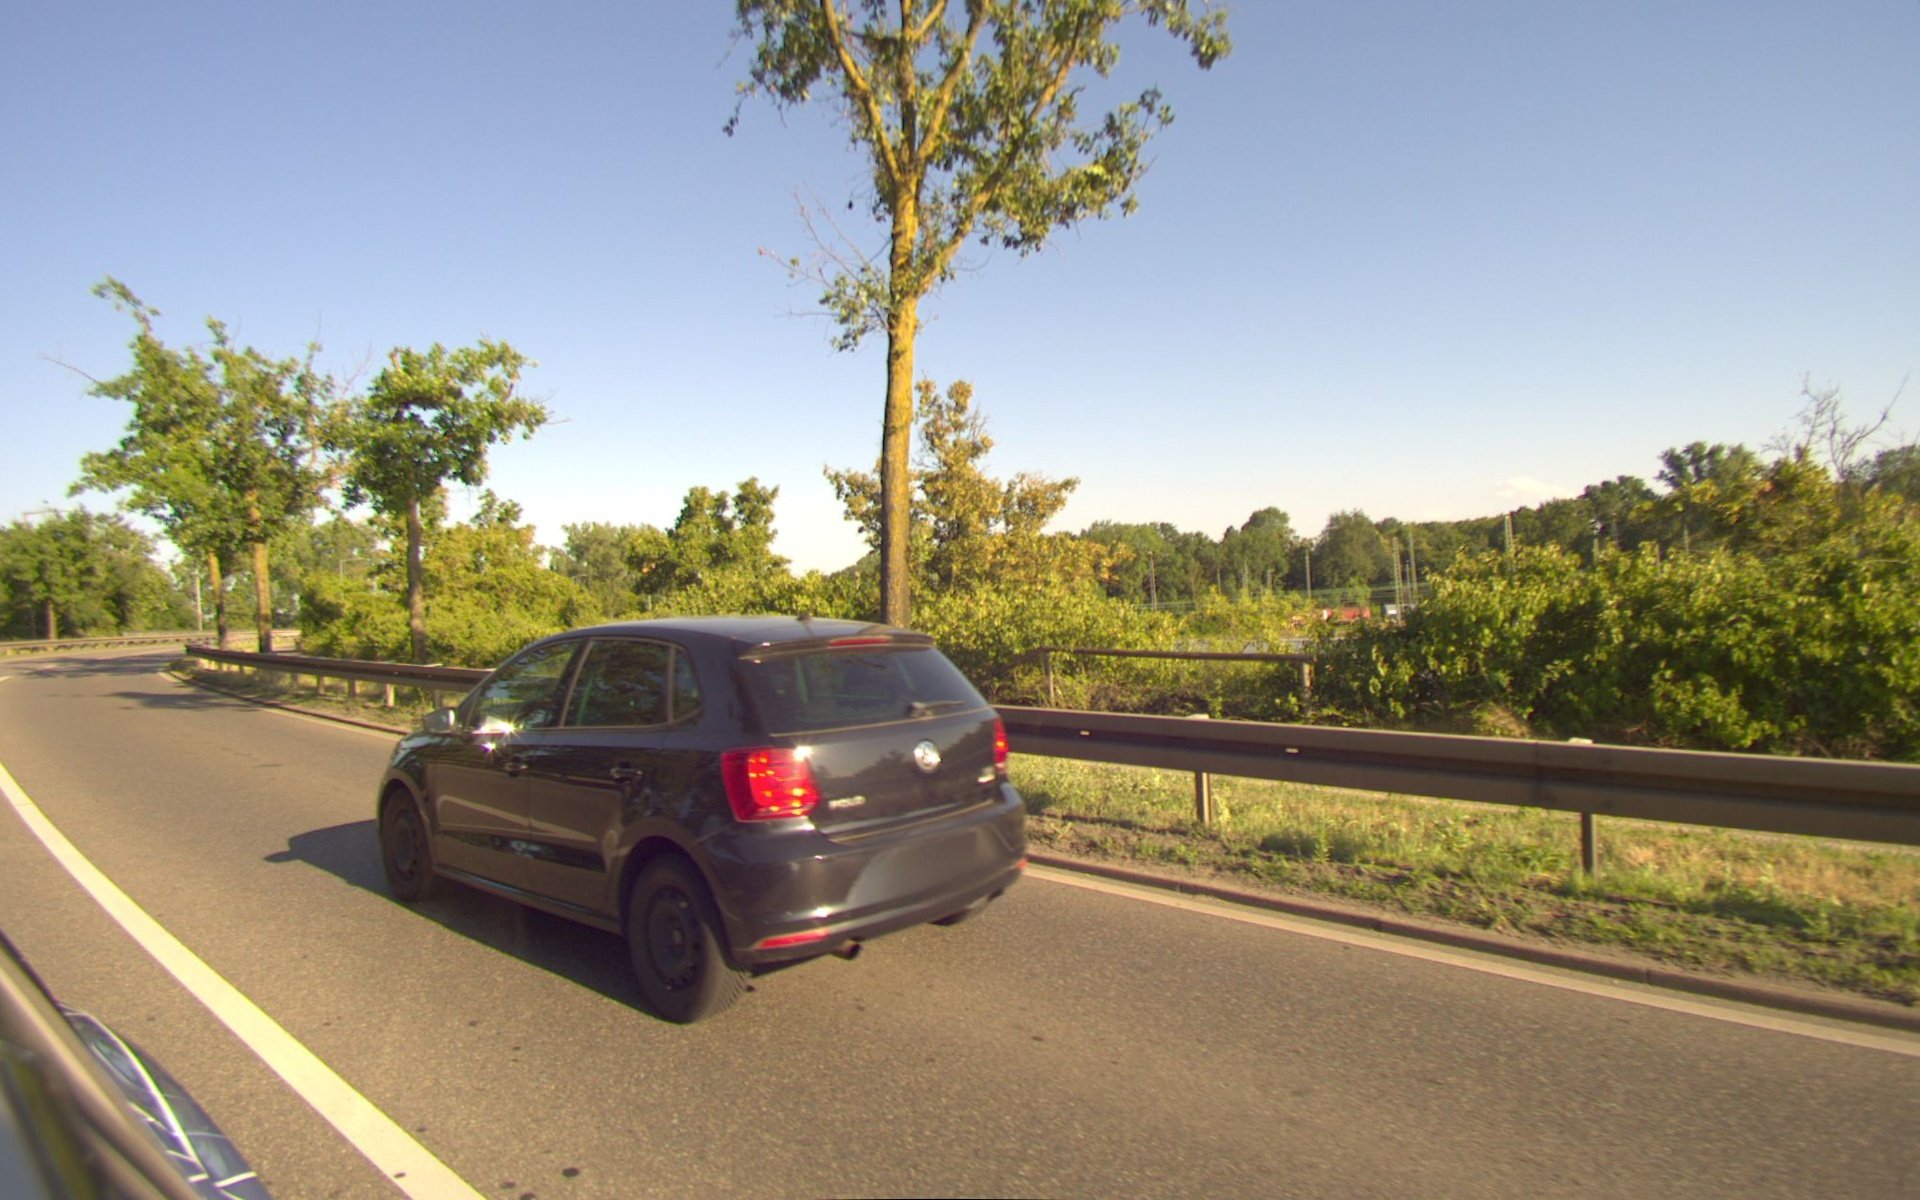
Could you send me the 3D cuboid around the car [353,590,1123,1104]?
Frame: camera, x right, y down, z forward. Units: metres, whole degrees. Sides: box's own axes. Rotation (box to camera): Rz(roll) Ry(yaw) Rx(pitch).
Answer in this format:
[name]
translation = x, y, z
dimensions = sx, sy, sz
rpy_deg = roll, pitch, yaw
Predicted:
[car]
translation = -1.323, 0.758, 4.848
dimensions = 3.858, 1.478, 1.677
rpy_deg = -2, -1, 42
